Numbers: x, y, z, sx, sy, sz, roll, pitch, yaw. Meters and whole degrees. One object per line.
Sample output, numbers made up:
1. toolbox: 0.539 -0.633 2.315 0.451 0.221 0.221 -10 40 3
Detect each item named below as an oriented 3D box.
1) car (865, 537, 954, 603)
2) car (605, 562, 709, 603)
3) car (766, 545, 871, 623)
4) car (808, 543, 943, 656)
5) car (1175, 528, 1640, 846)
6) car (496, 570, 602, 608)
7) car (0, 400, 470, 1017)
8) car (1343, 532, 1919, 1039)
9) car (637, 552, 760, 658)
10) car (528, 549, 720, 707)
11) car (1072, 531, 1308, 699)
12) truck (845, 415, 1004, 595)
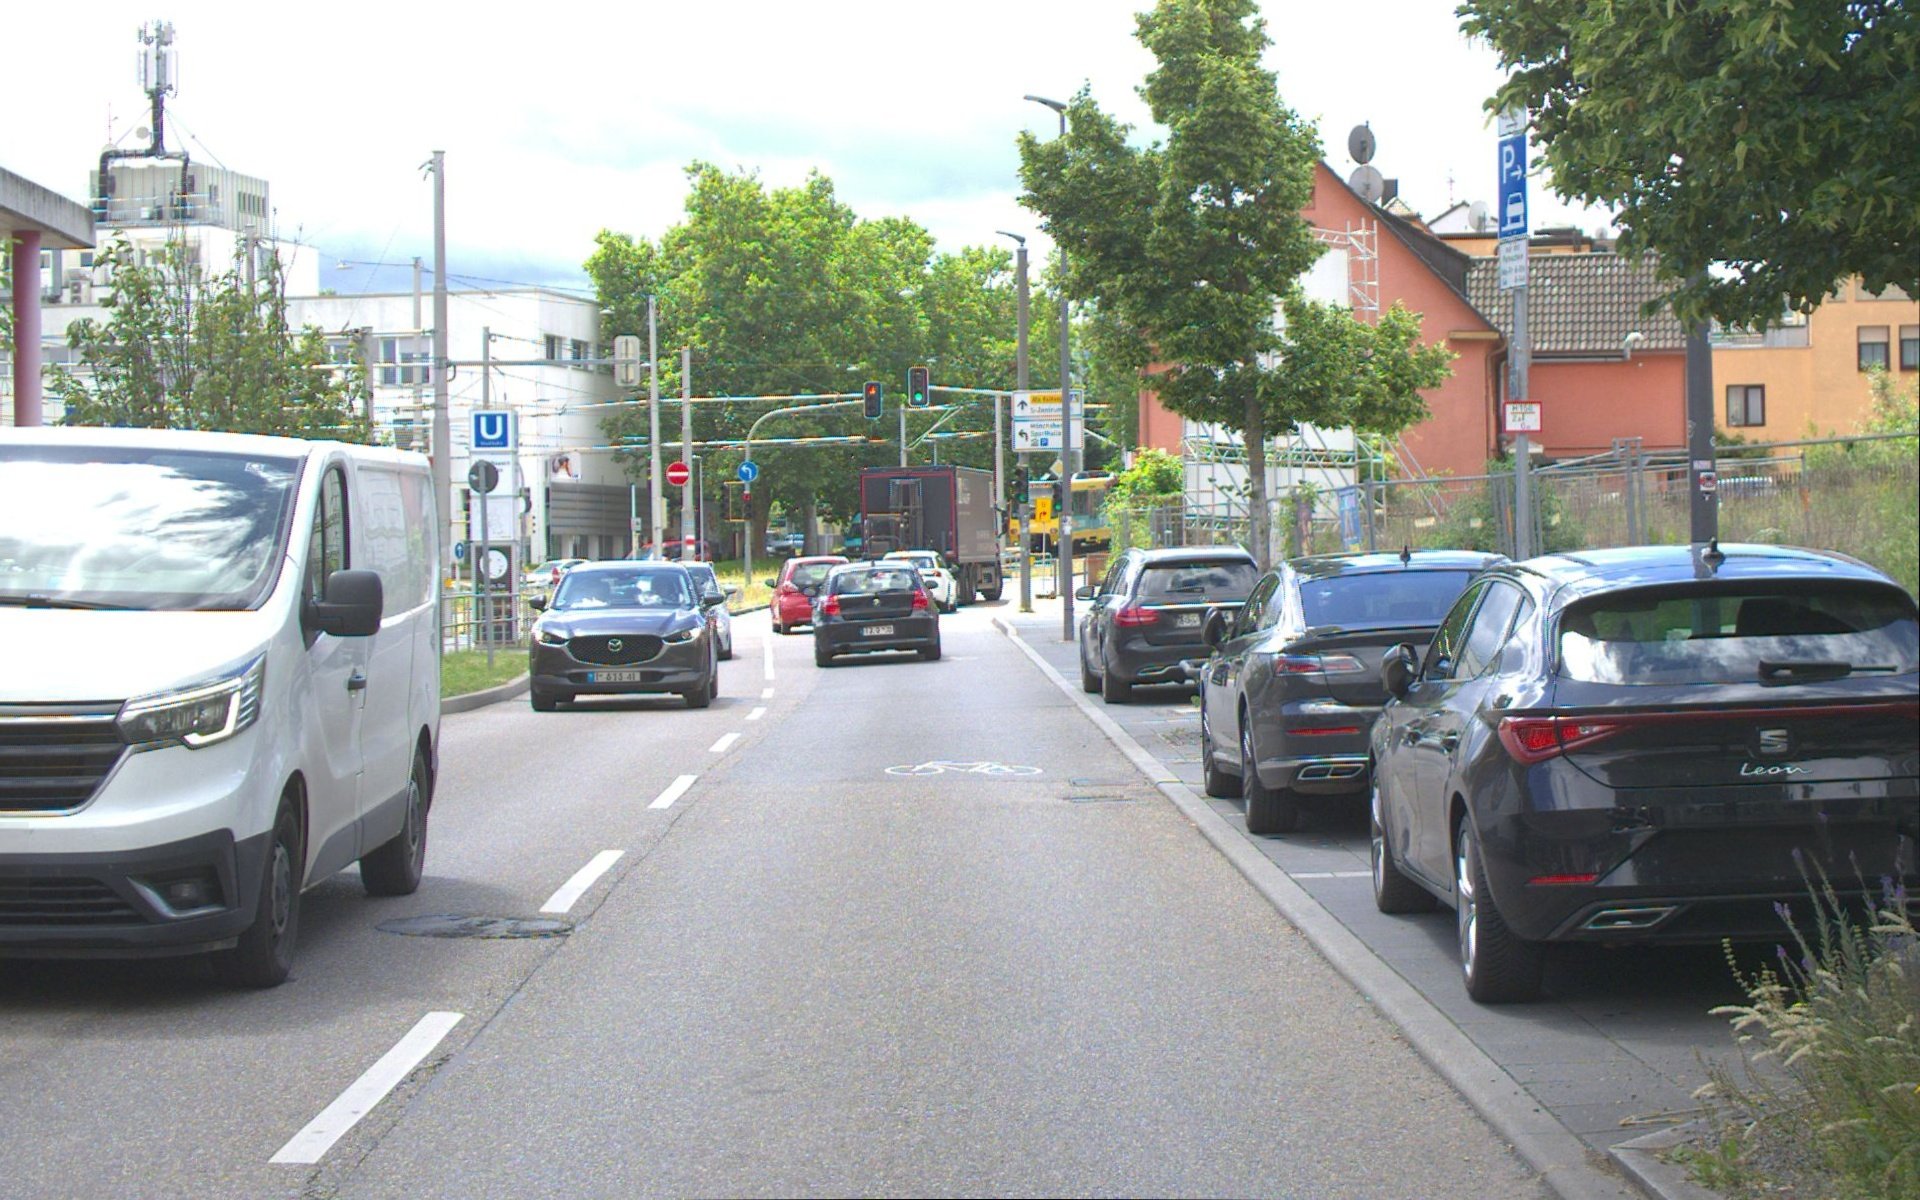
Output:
1. car: -1.228 -0.697 81.449 1.888 1.460 4.070 -2 0 -4
2. car: -12.703 -0.744 144.293 1.998 1.595 4.190 0 2 39
3. car: -2.730 -0.329 65.831 1.711 1.388 3.809 -2 1 -6
4. car: -1.216 -0.032 48.129 1.726 1.451 3.809 -2 1 -3
5. car: 2.282 0.383 18.730 1.865 1.446 4.643 -2 1 0
6. car: -16.616 -0.439 139.149 1.998 1.459 3.991 0 1 39
7. car: -3.247 0.302 13.201 2.004 1.910 5.065 1 1 0
8. car: 2.437 0.519 12.318 1.692 1.456 4.147 -2 1 1
9. car: -3.981 0.044 52.524 1.770 1.503 4.001 -2 1 -4
10. car: -3.437 0.250 35.812 1.724 1.516 4.255 1 1 -2
11. car: 2.157 0.096 33.336 1.782 1.447 4.476 -2 1 -2
12. truck: -0.863 -2.458 93.084 3.204 4.520 9.026 0 -1 6
